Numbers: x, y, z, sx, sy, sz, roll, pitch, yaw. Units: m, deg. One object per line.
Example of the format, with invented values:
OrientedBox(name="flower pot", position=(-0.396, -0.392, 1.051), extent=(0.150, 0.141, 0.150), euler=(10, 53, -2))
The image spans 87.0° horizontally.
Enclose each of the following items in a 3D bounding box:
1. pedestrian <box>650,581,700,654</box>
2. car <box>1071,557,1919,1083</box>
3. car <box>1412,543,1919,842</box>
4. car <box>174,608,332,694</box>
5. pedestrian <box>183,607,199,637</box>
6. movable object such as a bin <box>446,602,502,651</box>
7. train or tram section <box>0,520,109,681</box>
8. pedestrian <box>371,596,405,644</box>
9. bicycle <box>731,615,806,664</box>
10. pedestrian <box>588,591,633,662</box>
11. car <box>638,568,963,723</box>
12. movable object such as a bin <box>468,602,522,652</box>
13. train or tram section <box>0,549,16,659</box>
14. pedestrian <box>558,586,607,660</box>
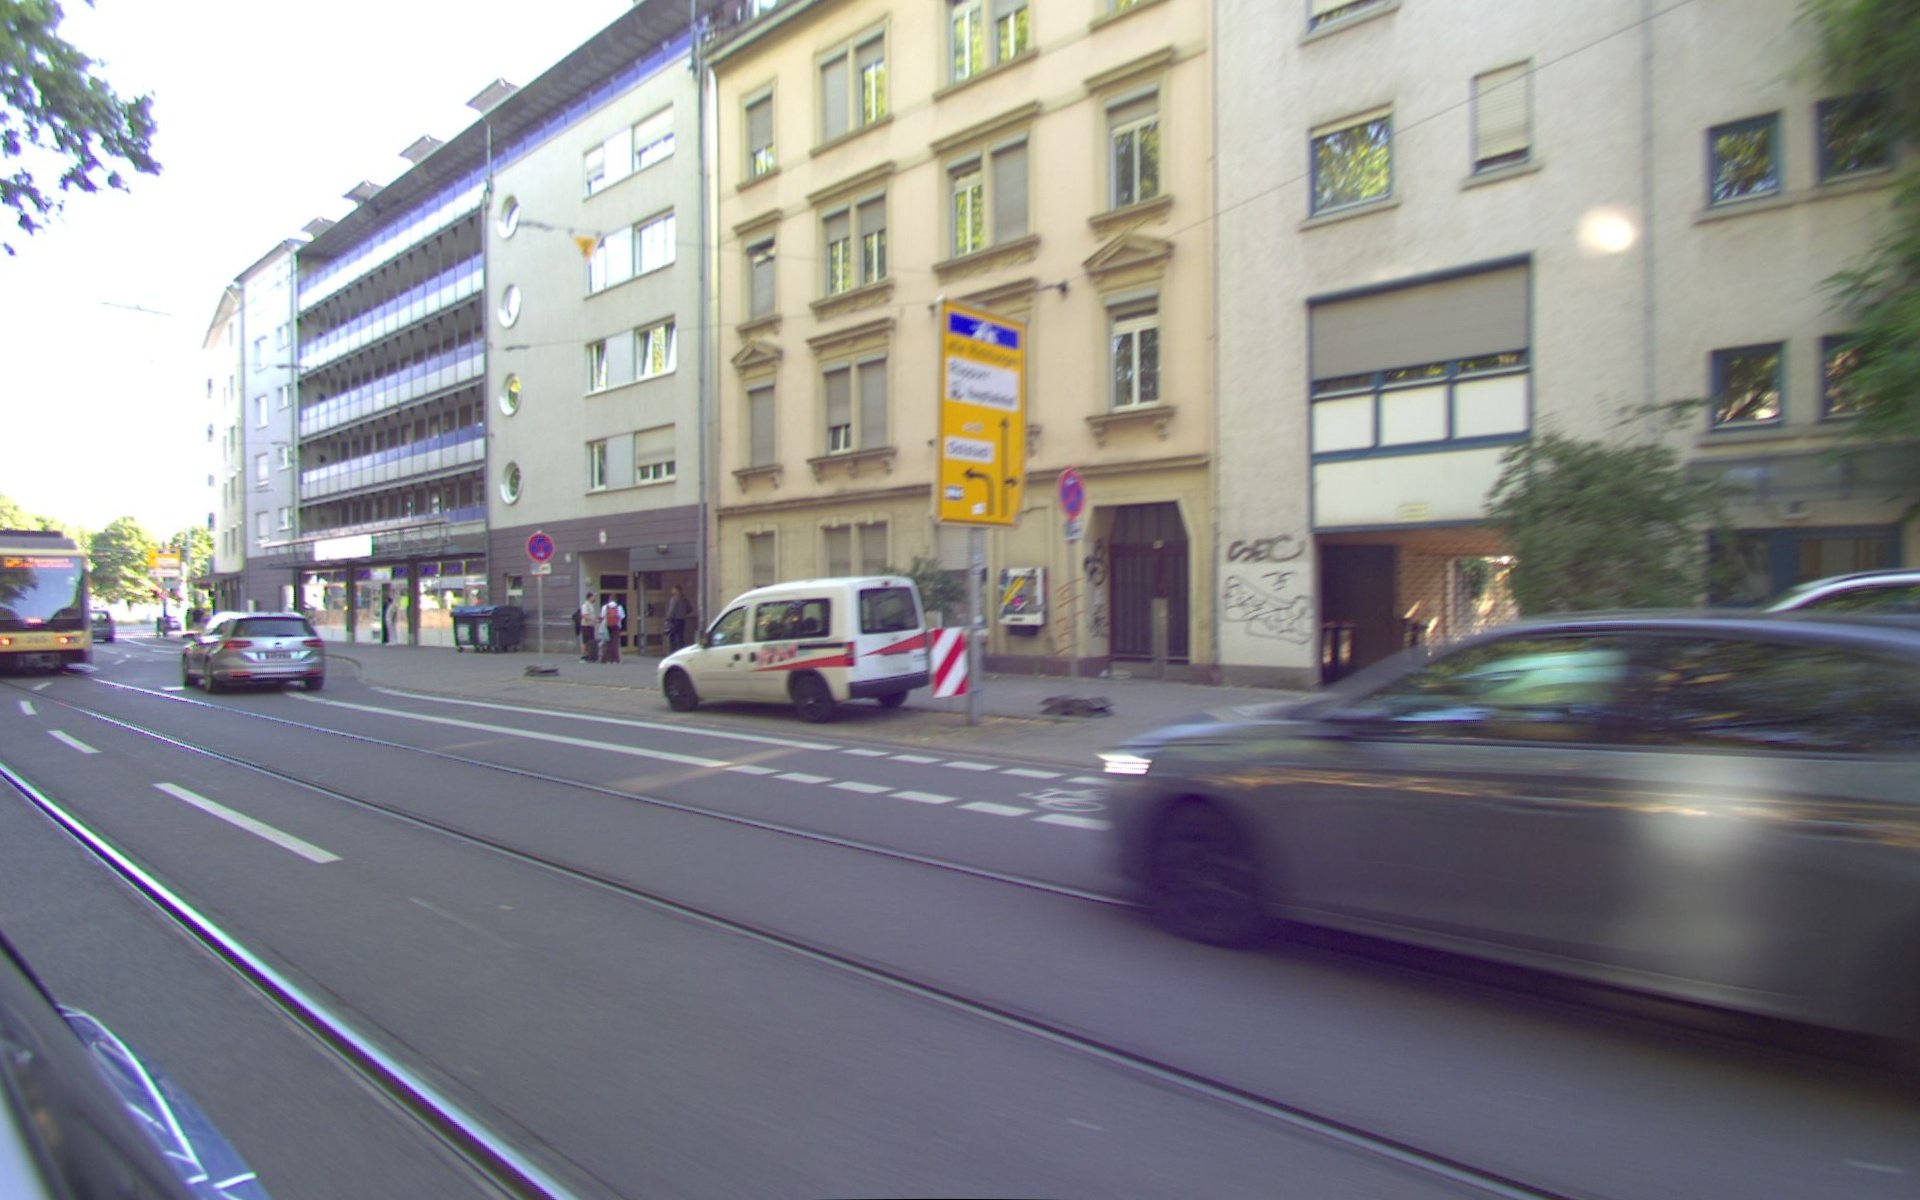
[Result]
OrientedBox(name="pedestrian", position=(-7.372, 0.430, 26.202), extent=(0.729, 1.827, 0.953), euler=(-1, 2, 42))
OrientedBox(name="car", position=(2.614, 0.633, 4.038), extent=(4.051, 1.457, 1.777), euler=(-1, -2, 41))
OrientedBox(name="car", position=(5.765, 0.485, 6.514), extent=(4.877, 1.661, 1.933), euler=(0, 2, 40))
OrientedBox(name="car", position=(-13.755, 0.892, 19.576), extent=(1.775, 1.457, 4.720), euler=(1, -1, -44))
OrientedBox(name="pedestrian", position=(-43.545, 1.238, 57.318), extent=(0.706, 1.686, 0.906), euler=(0, 0, -38))
OrientedBox(name="movable object such as a bin", position=(-15.129, 0.815, 31.501), extent=(1.212, 1.461, 1.129), euler=(-1, 0, 37))
OrientedBox(name="train or tram section", position=(-25.988, 0.081, 26.970), extent=(14.189, 3.512, 2.878), euler=(-1, 0, 41))
OrientedBox(name="pedestrian", position=(-21.214, 0.723, 37.556), extent=(0.819, 1.726, 0.779), euler=(-1, 2, 40))
OrientedBox(name="bicycle", position=(-4.165, 0.828, 21.880), extent=(0.639, 0.978, 2.142), euler=(-2, 1, -38))
OrientedBox(name="pedestrian", position=(-8.437, 0.624, 24.411), extent=(0.686, 1.645, 0.720), euler=(-1, 1, 39))
OrientedBox(name="car", position=(-2.280, 0.539, 13.775), extent=(4.464, 1.784, 1.772), euler=(-1, 1, 38))
OrientedBox(name="movable object such as a bin", position=(-14.134, 0.815, 30.772), extent=(1.209, 1.461, 1.047), euler=(-1, 0, 37))
OrientedBox(name="train or tram section", position=(-36.468, 0.195, 35.972), extent=(13.361, 3.512, 2.878), euler=(-1, 0, 41))
OrientedBox(name="pedestrian", position=(-9.488, 0.576, 25.429), extent=(0.735, 1.798, 0.856), euler=(-1, 1, 39))
